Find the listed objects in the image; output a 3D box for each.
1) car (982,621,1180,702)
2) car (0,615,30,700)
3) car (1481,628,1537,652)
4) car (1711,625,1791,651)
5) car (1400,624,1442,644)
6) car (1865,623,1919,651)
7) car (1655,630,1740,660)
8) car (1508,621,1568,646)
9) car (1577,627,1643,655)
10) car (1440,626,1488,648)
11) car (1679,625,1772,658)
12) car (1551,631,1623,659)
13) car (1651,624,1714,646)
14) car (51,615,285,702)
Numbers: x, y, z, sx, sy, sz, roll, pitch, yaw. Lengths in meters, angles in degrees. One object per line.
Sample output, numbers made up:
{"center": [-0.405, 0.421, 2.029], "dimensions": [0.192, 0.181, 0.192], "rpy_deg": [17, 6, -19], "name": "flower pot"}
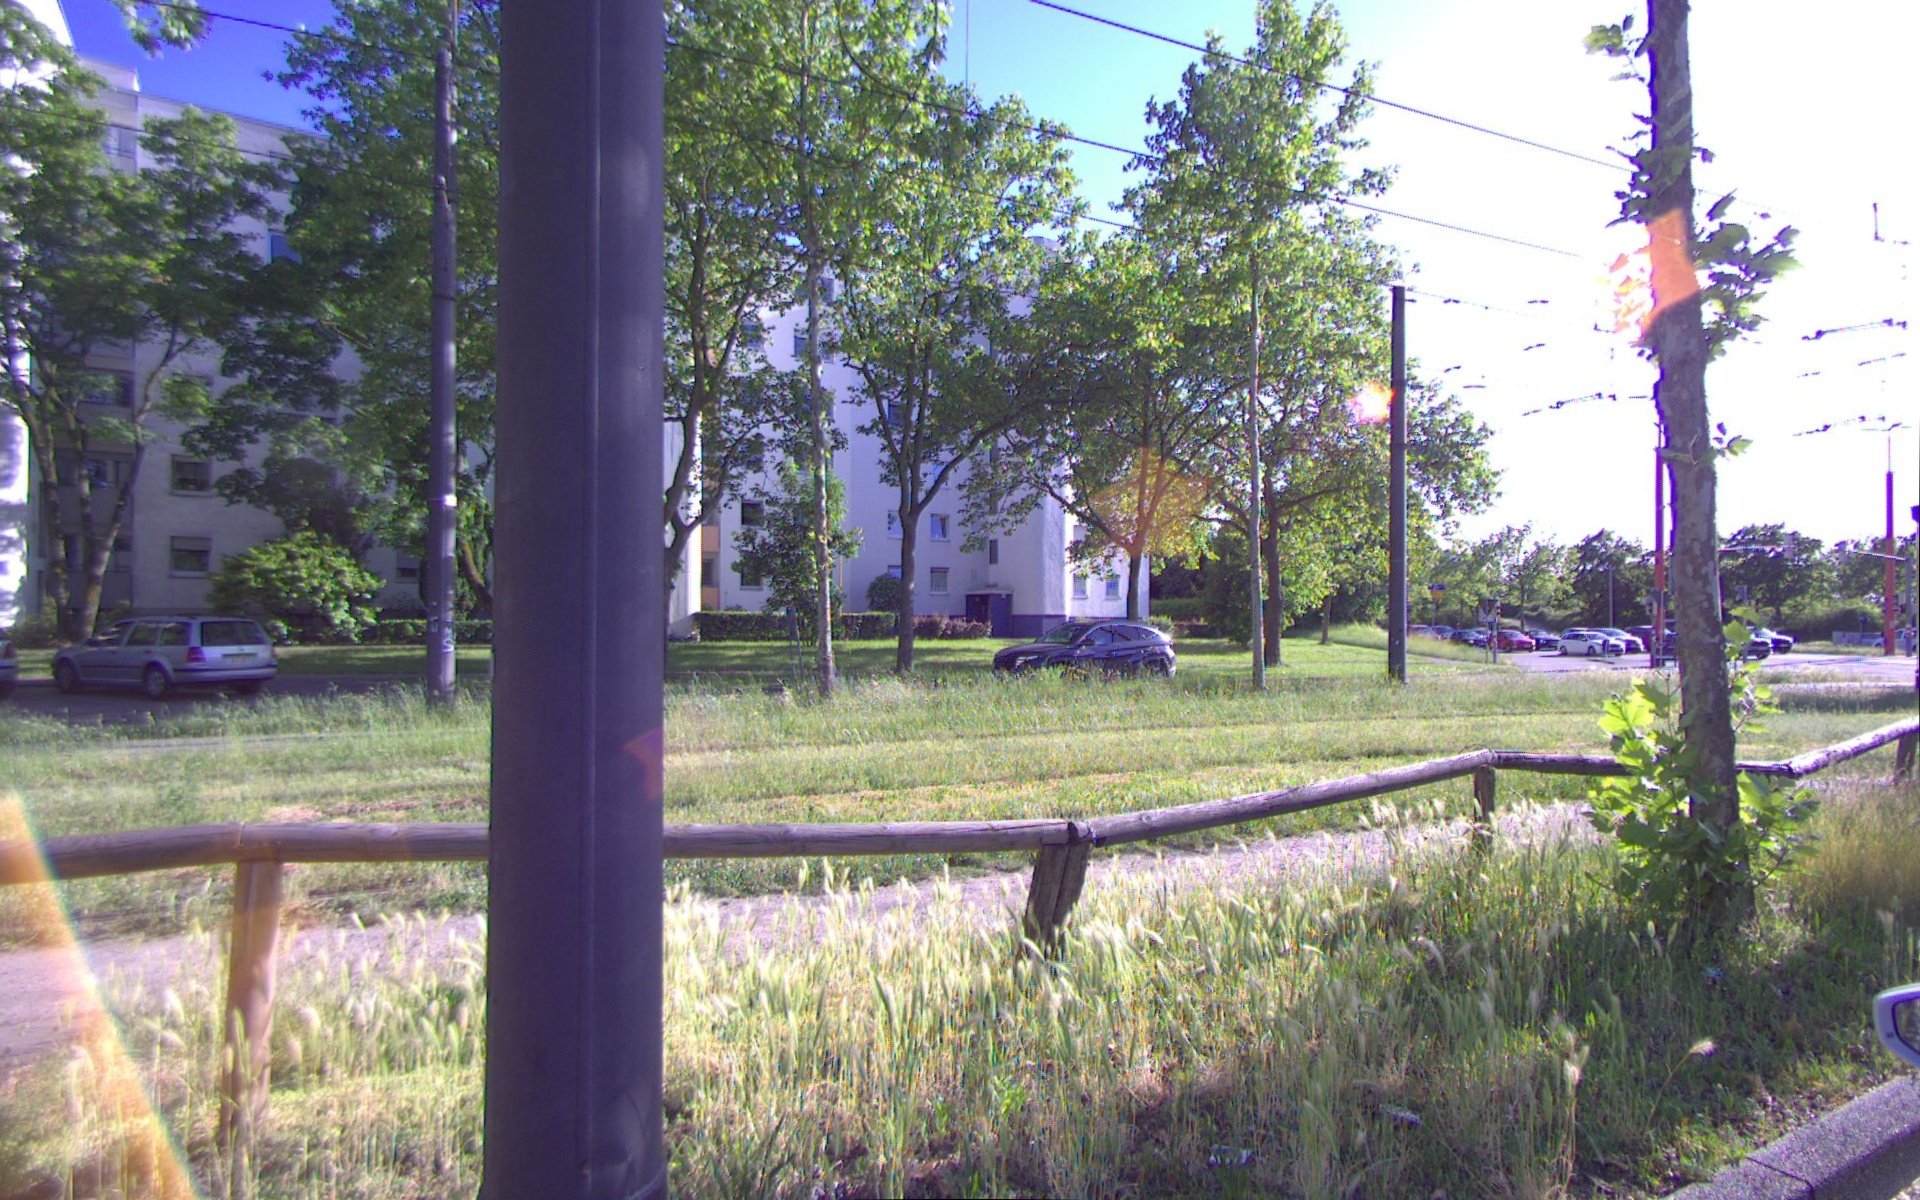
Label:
{"center": [2.720, 1.308, 22.362], "dimensions": [4.243, 1.640, 1.644], "rpy_deg": [1, -1, -30], "name": "car"}
{"center": [-17.981, 0.950, 17.163], "dimensions": [3.567, 1.421, 1.581], "rpy_deg": [1, 0, 20], "name": "car"}
{"center": [38.455, 2.777, 70.455], "dimensions": [1.624, 1.540, 4.200], "rpy_deg": [1, -1, 1], "name": "car"}
{"center": [48.660, 2.322, 61.899], "dimensions": [1.513, 1.434, 4.154], "rpy_deg": [1, -1, -3], "name": "car"}
{"center": [38.696, 2.814, 84.339], "dimensions": [1.624, 1.540, 4.200], "rpy_deg": [1, -1, 1], "name": "car"}
{"center": [63.625, 2.459, 67.471], "dimensions": [1.625, 1.773, 4.128], "rpy_deg": [1, -1, -6], "name": "car"}
{"center": [39.055, 2.351, 53.313], "dimensions": [1.624, 1.460, 3.841], "rpy_deg": [1, -1, -2], "name": "car"}
{"center": [42.272, 2.427, 73.567], "dimensions": [1.721, 1.669, 4.644], "rpy_deg": [1, -1, 1], "name": "car"}
{"center": [42.209, 2.635, 65.370], "dimensions": [1.623, 1.714, 4.343], "rpy_deg": [1, -1, 2], "name": "car"}
{"center": [38.666, 2.816, 77.112], "dimensions": [1.624, 1.540, 4.200], "rpy_deg": [1, -1, 1], "name": "car"}
{"center": [42.530, 2.247, 55.936], "dimensions": [1.624, 1.669, 4.644], "rpy_deg": [1, -1, 1], "name": "car"}
{"center": [38.921, 2.753, 62.455], "dimensions": [1.624, 1.540, 4.638], "rpy_deg": [1, -1, 1], "name": "car"}
{"center": [59.055, 2.830, 82.170], "dimensions": [1.625, 1.647, 4.673], "rpy_deg": [1, -1, -3], "name": "car"}
{"center": [-14.532, 1.013, 18.437], "dimensions": [3.830, 1.421, 1.581], "rpy_deg": [1, 0, 20], "name": "car"}
